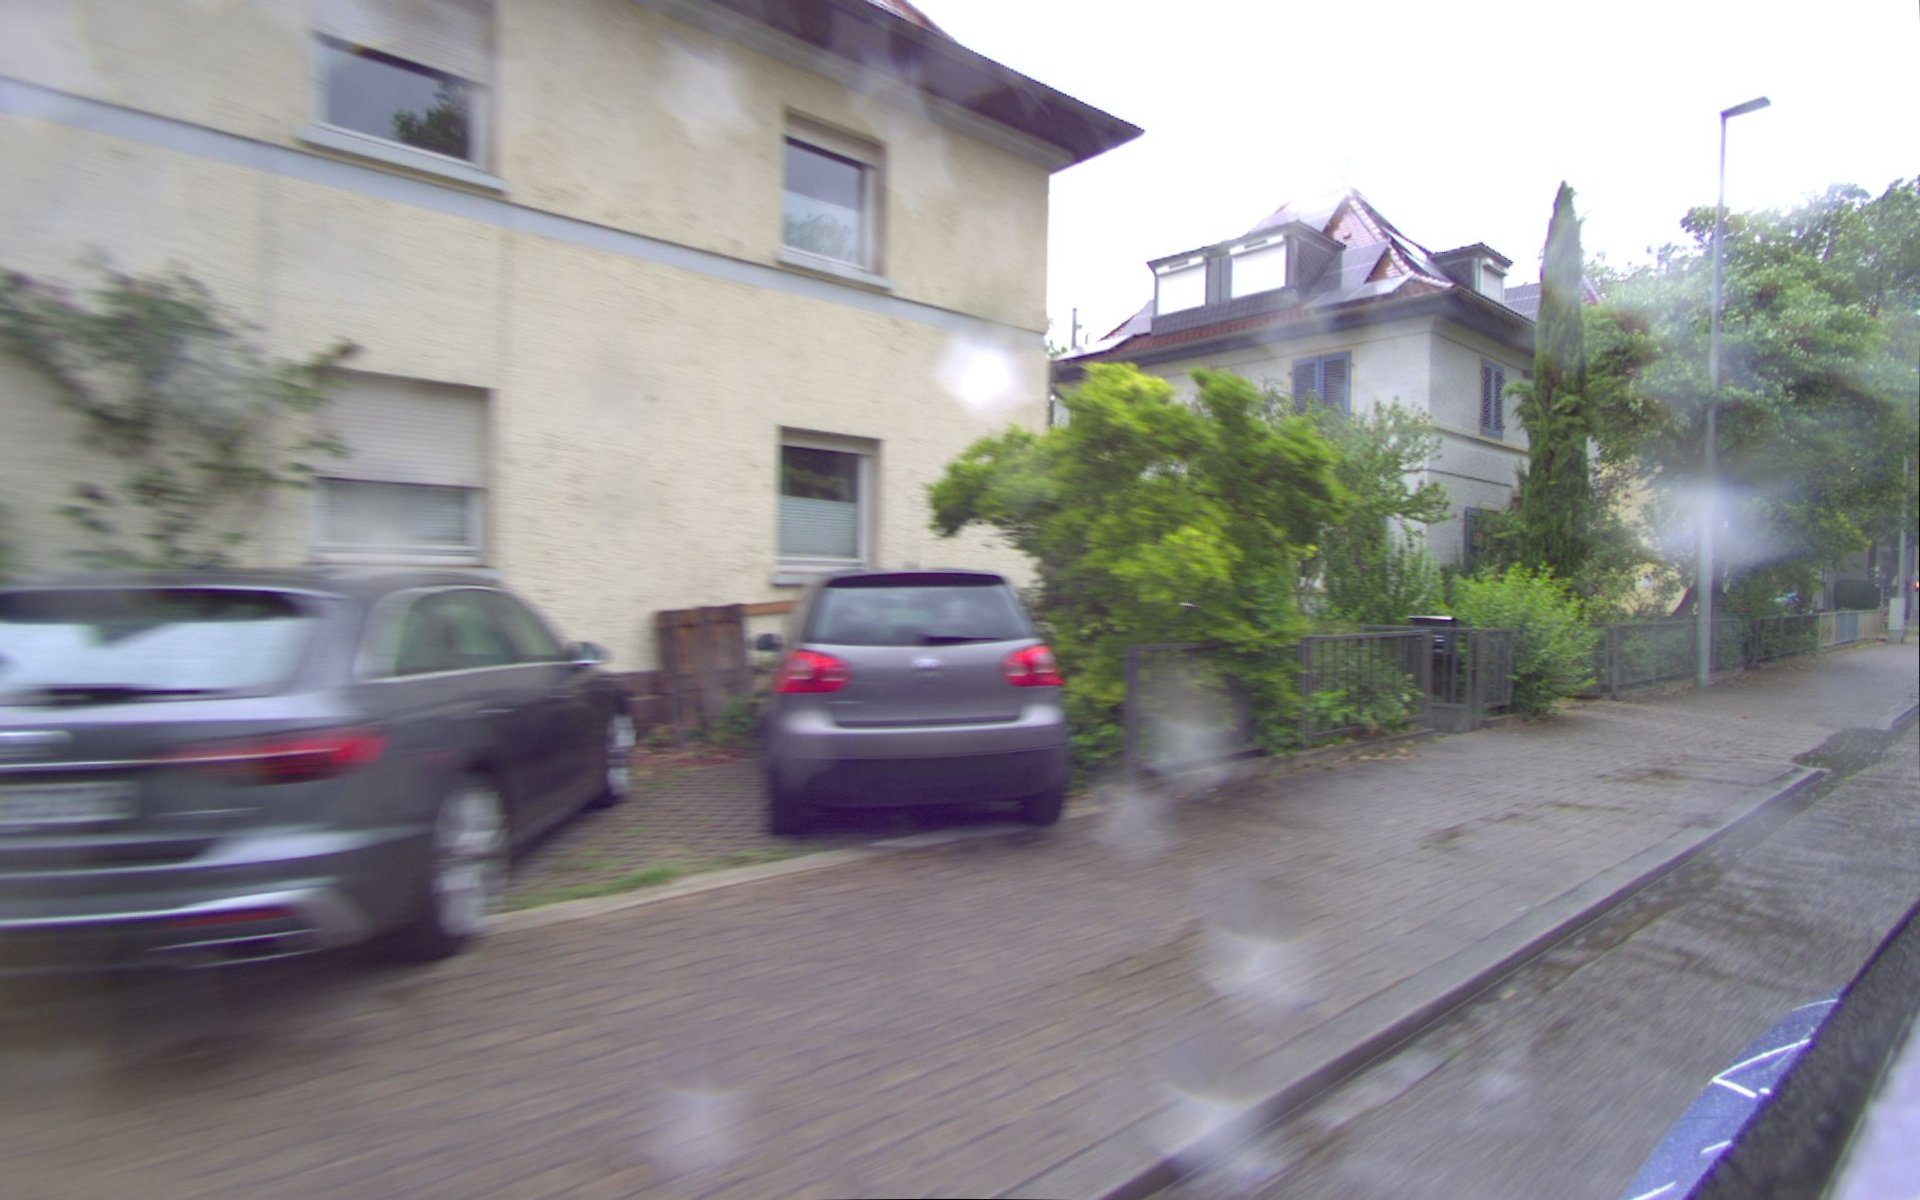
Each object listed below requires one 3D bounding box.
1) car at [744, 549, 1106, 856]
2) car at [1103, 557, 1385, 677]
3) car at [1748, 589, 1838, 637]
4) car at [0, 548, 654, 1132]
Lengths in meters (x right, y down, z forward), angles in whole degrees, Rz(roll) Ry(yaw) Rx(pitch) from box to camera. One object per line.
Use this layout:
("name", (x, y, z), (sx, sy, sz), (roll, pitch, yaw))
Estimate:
("car", (-0.377, 0.474, 6.957), (1.736, 1.475, 4.005), (2, 1, -6))
("car", (4.382, 0.353, 16.160), (1.787, 1.601, 3.995), (0, -5, -37))
("car", (27.108, 0.397, 32.905), (3.463, 1.489, 1.672), (0, 1, -41))
("car", (-2.756, 0.521, 4.544), (1.881, 1.381, 4.388), (0, 1, -6))
